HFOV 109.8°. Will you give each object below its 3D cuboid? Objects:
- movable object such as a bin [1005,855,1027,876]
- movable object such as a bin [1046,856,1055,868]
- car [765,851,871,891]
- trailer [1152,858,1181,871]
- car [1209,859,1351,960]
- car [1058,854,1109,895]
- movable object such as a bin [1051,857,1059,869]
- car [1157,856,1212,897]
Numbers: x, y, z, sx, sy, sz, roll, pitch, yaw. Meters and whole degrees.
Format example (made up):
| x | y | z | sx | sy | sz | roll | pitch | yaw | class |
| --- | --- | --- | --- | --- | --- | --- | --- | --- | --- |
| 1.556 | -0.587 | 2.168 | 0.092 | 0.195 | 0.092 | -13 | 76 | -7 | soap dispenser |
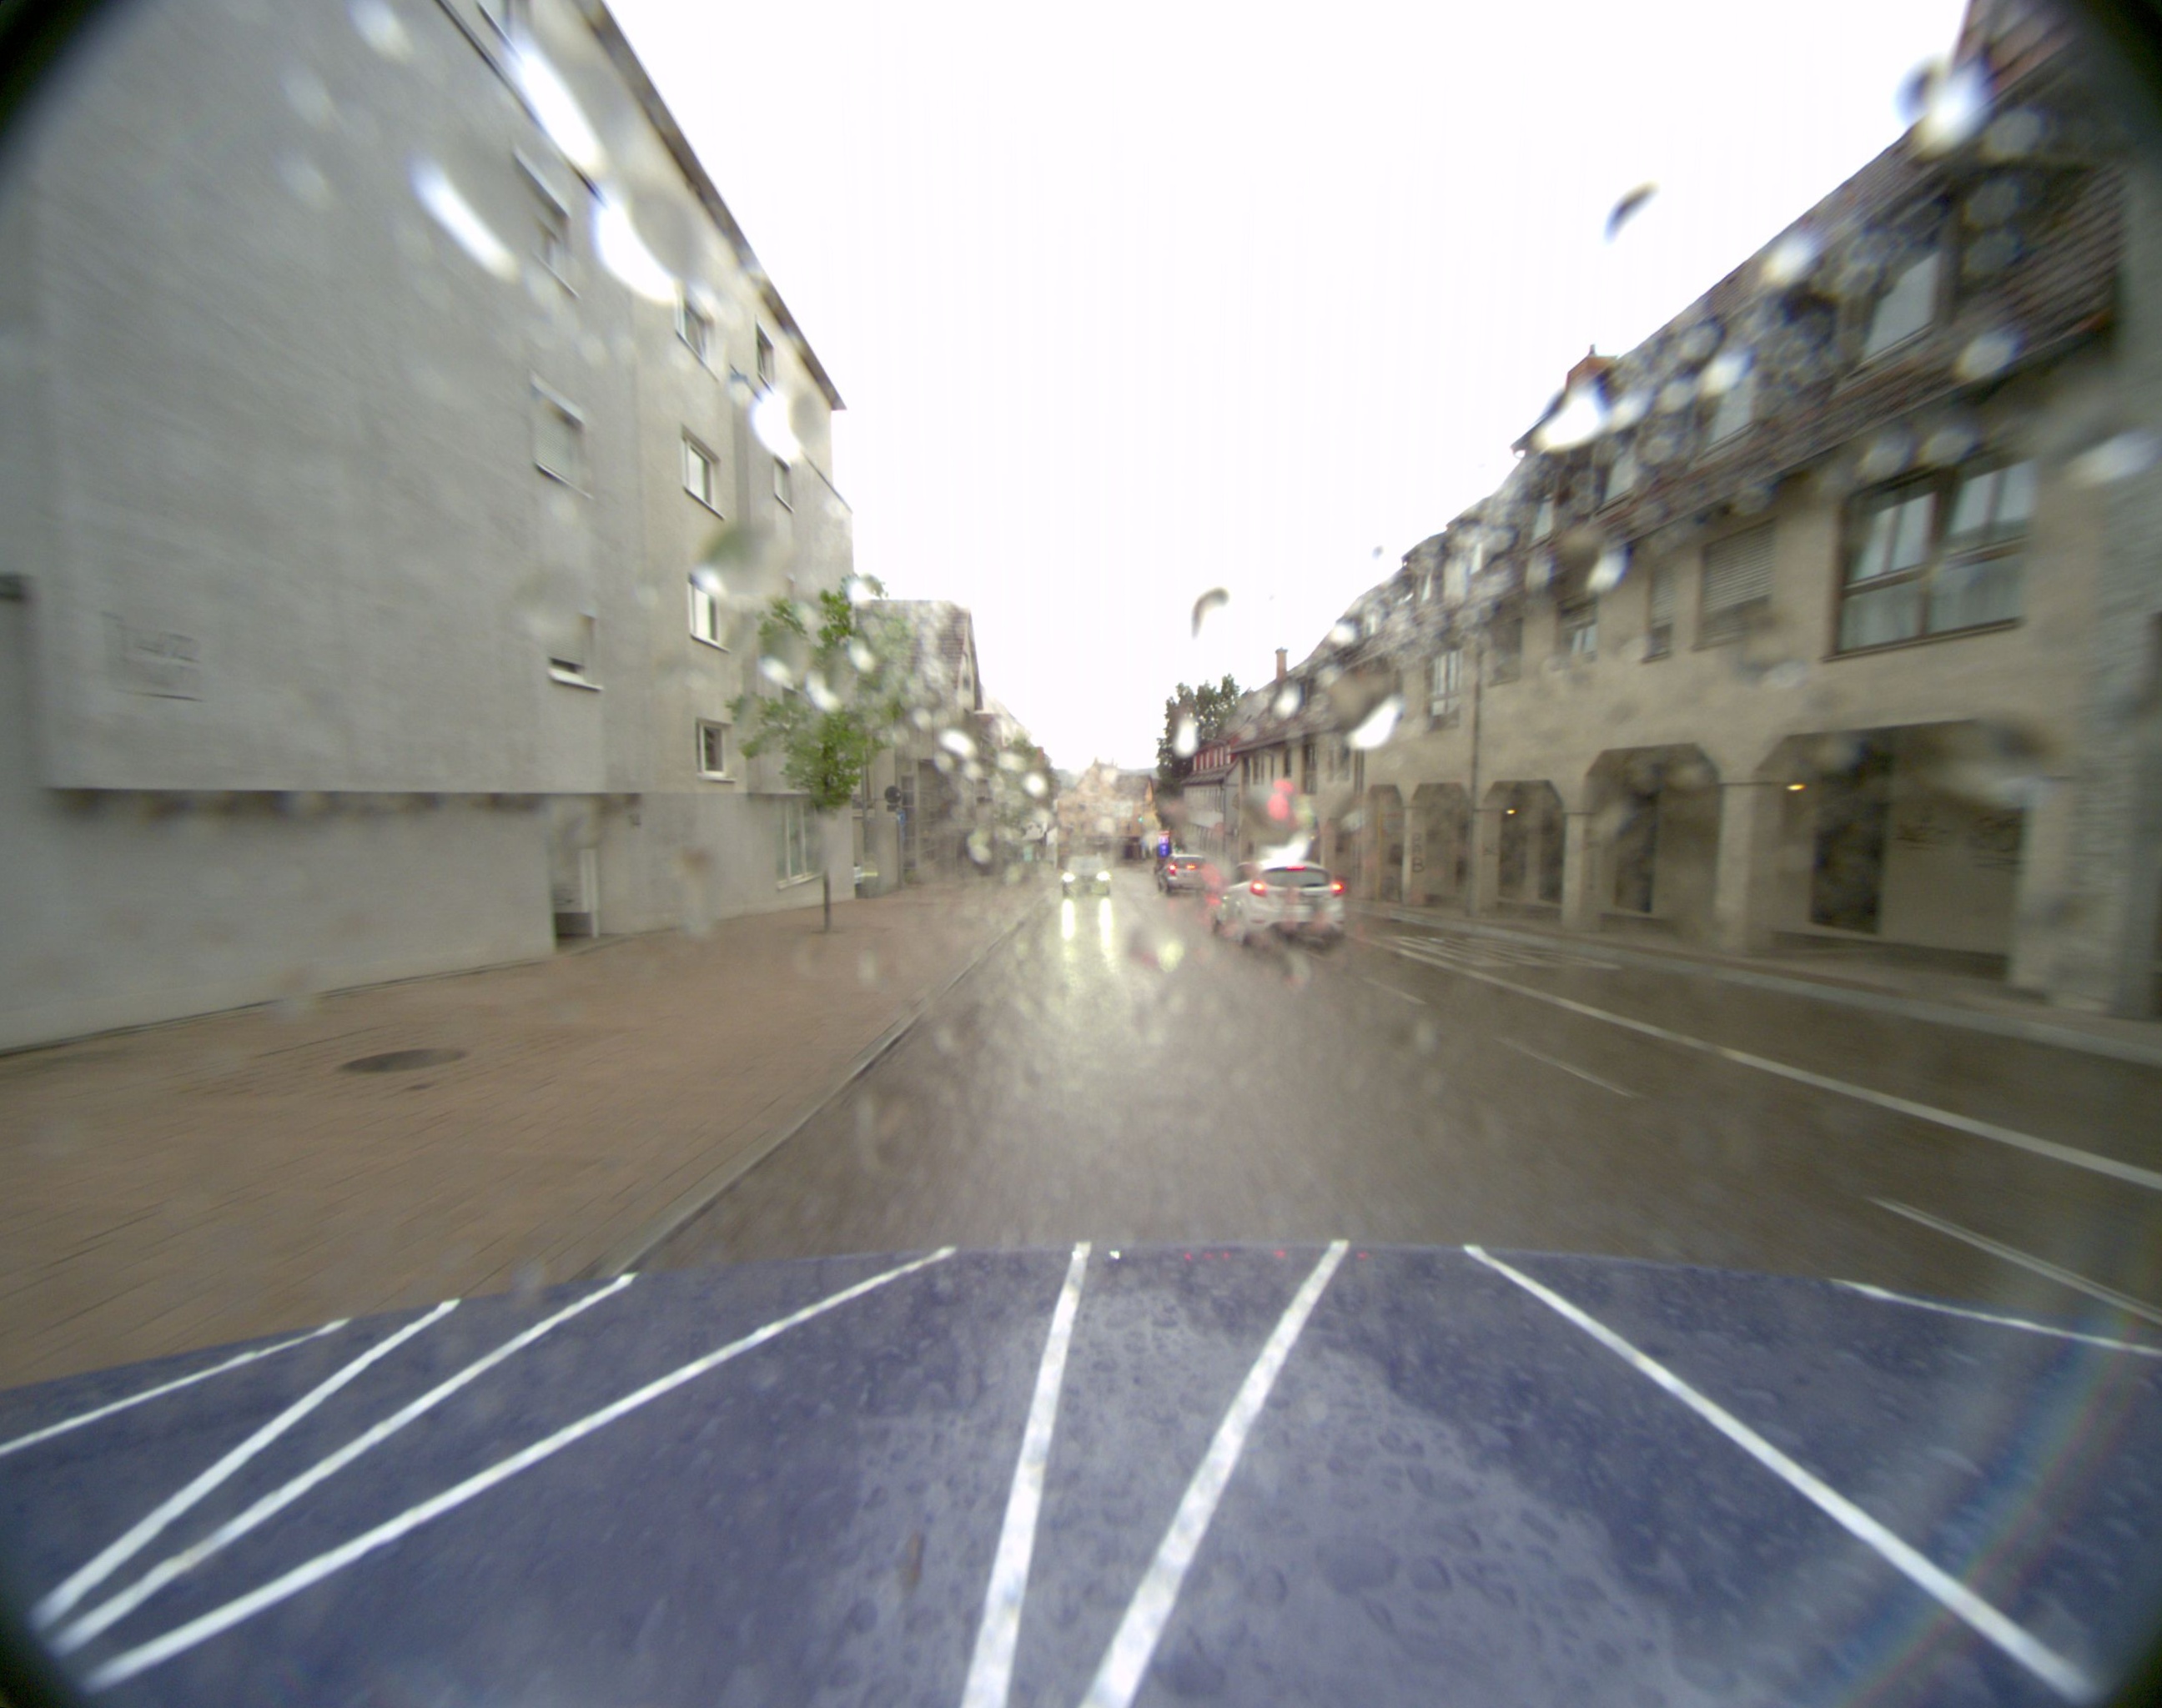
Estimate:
| x | y | z | sx | sy | sz | roll | pitch | yaw | class |
| --- | --- | --- | --- | --- | --- | --- | --- | --- | --- |
| -4.171 | 0.729 | 48.913 | 1.237 | 1.327 | 1.173 | 0 | 0 | 2 | movable object such as a bin |
| -2.645 | 0.683 | 65.843 | 0.571 | 1.022 | 0.467 | 1 | 1 | -40 | movable object such as a bin |
| -10.931 | 0.693 | 31.771 | 3.772 | 1.446 | 1.743 | 2 | 2 | -1 | car |
| 6.968 | 0.826 | 62.197 | 1.998 | 0.900 | 4.478 | -2 | 0 | 3 | trailer |
| 3.398 | 0.885 | 13.615 | 1.681 | 1.501 | 3.588 | -1 | 1 | 1 | car |
| 0.159 | 0.811 | 32.038 | 1.967 | 1.549 | 4.622 | -1 | 0 | 1 | car |
| -2.305 | 0.799 | 67.032 | 0.596 | 1.022 | 0.476 | 1 | 1 | 2 | movable object such as a bin |
| 4.119 | 0.848 | 30.662 | 1.681 | 1.501 | 3.588 | -1 | 1 | -1 | car |
